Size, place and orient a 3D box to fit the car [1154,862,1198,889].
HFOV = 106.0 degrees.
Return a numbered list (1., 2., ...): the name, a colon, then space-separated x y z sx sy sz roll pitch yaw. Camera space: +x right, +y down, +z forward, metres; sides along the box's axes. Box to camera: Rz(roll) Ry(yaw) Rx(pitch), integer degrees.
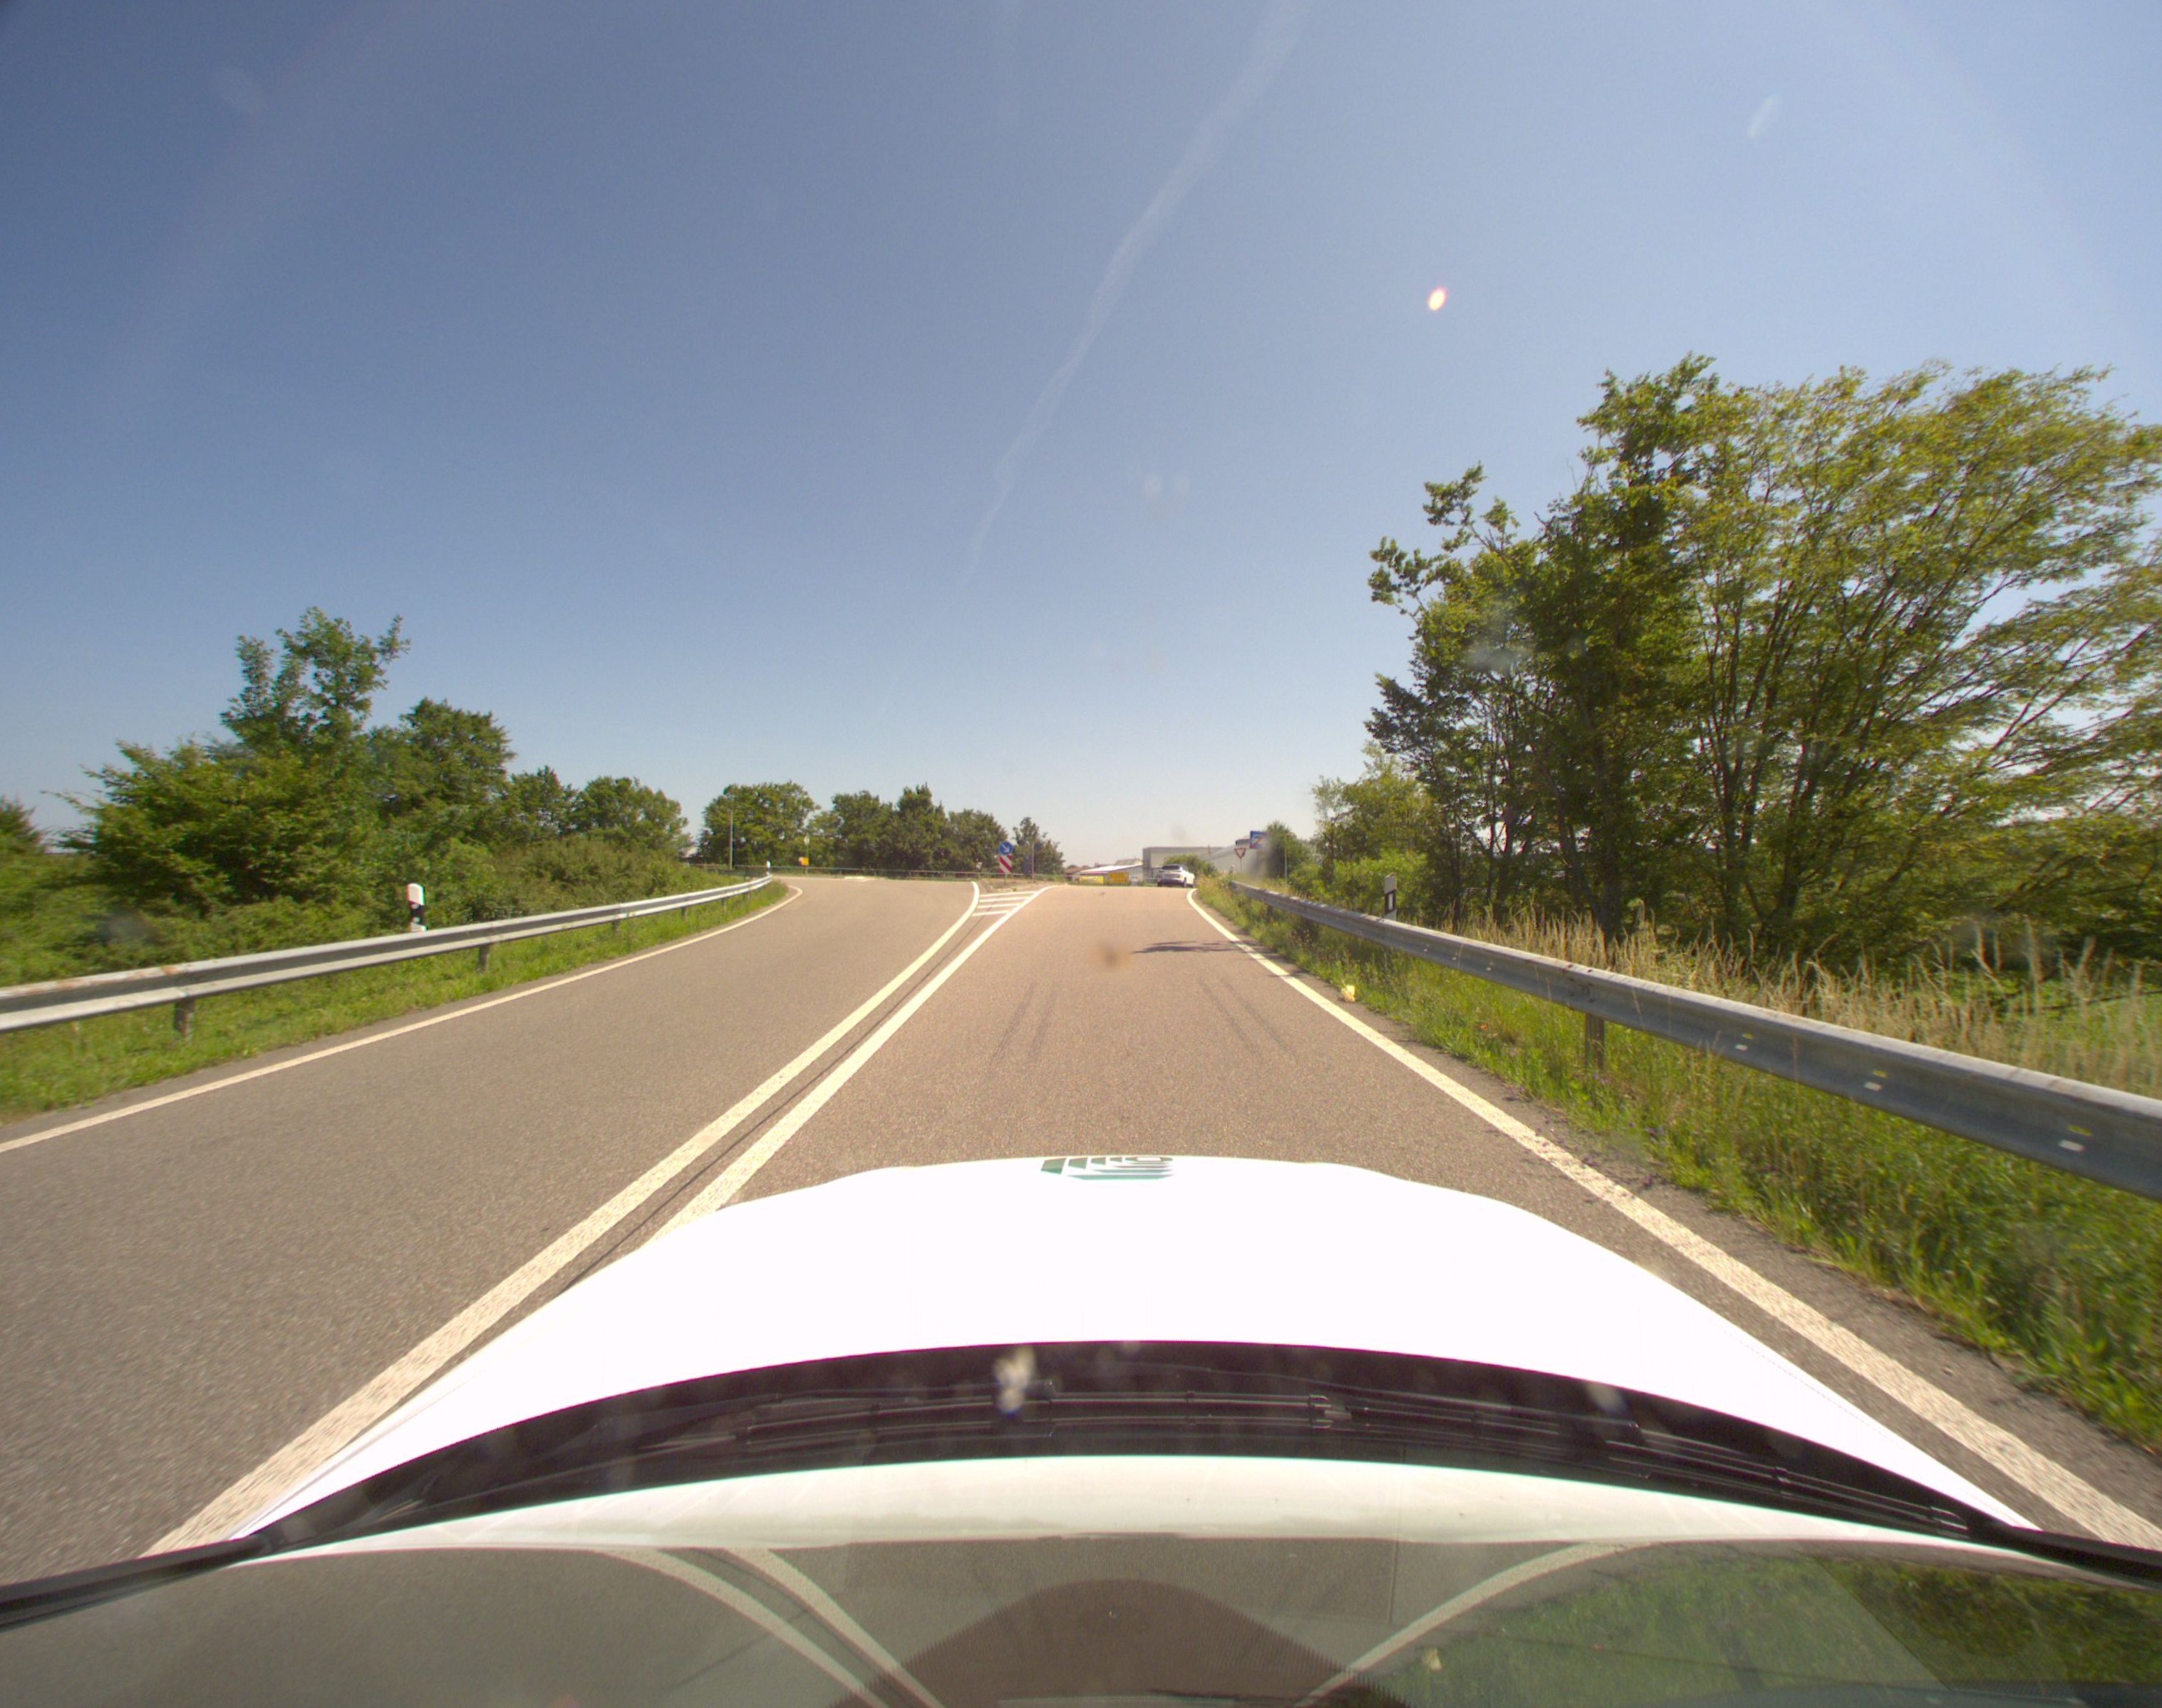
1. car: 6.332 1.439 53.958 1.793 1.691 4.021 -2 -2 22
